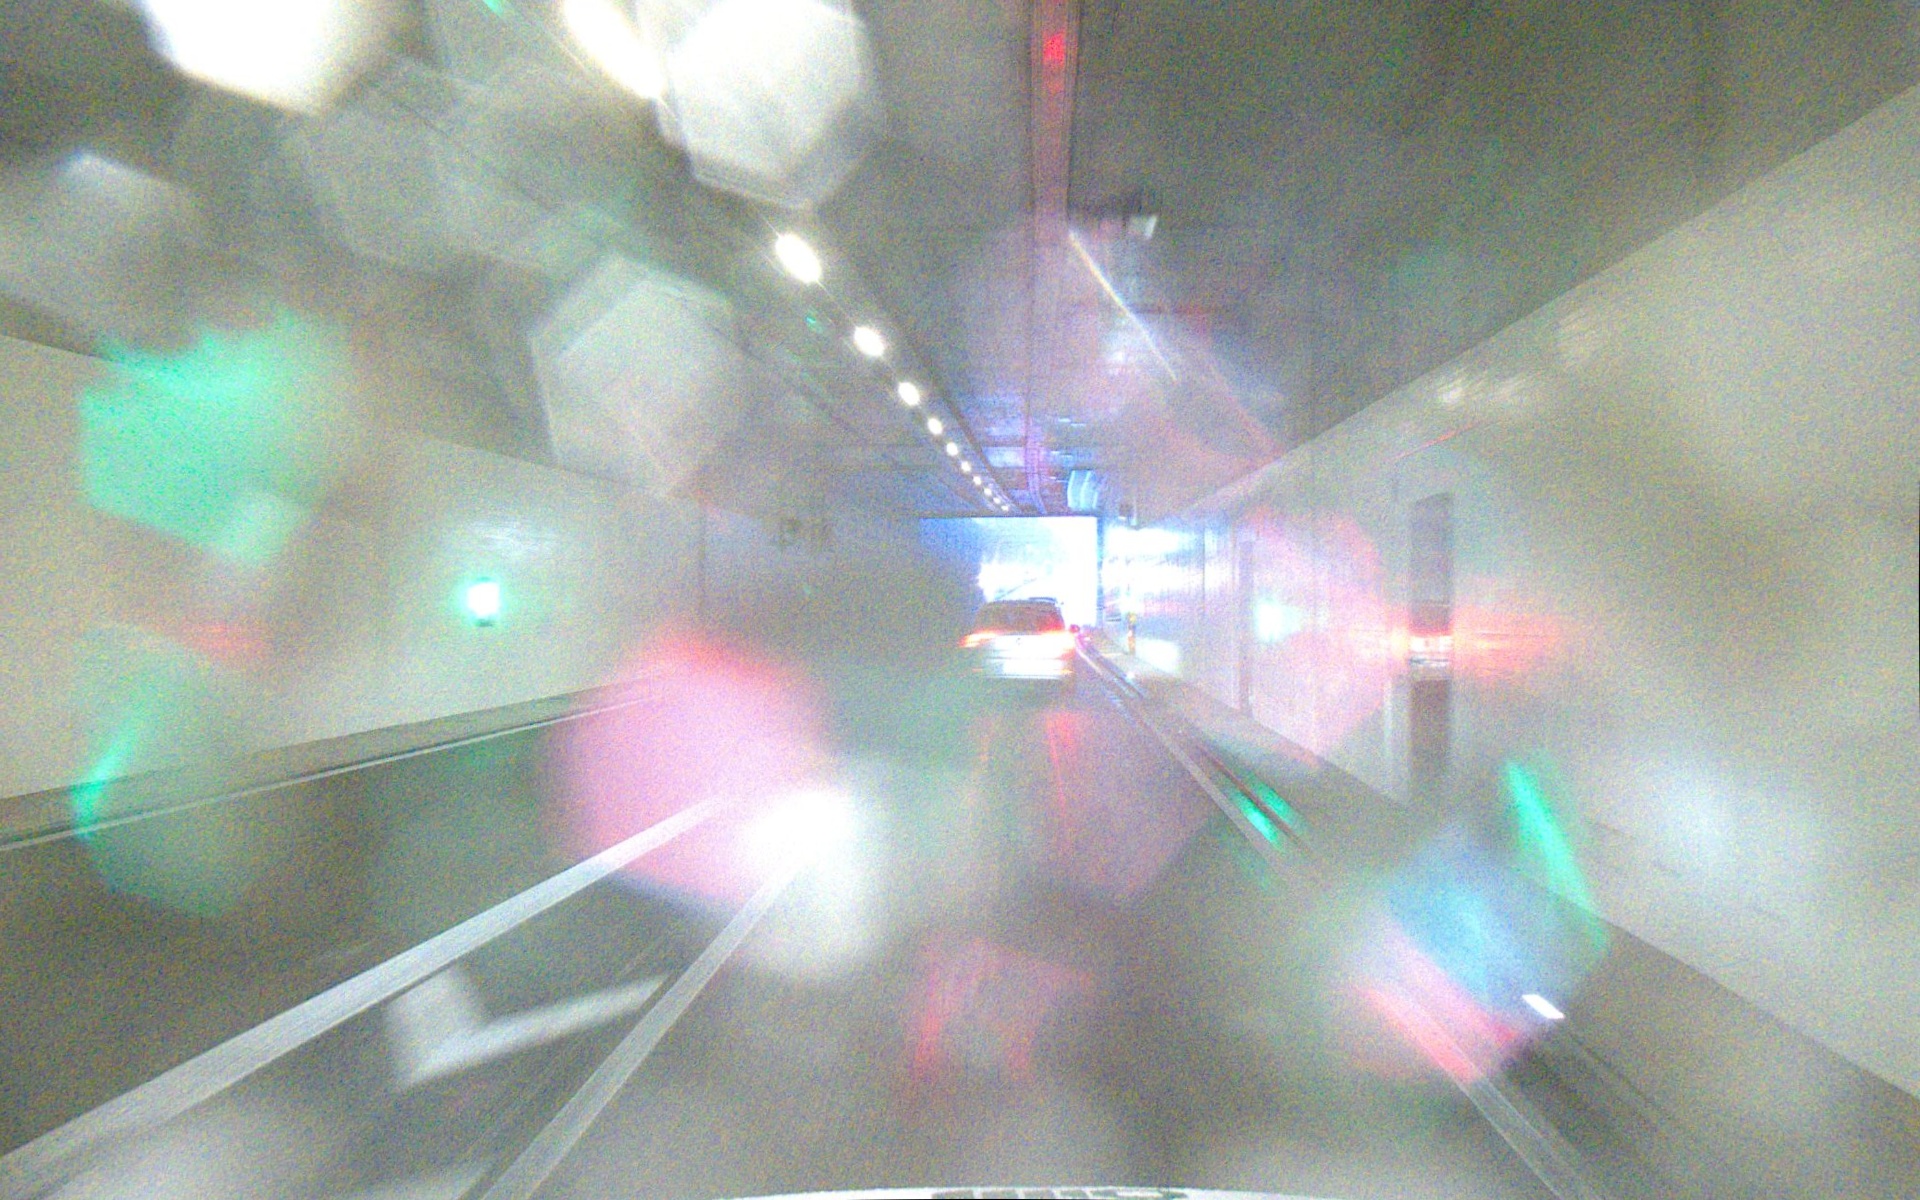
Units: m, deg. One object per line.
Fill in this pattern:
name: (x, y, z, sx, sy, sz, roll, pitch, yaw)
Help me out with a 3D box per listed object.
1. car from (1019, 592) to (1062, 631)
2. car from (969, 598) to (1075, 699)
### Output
car: (3.653, 0.562, 75.050, 1.841, 1.649, 4.001, 2, -1, 3)
car: (0.958, 0.706, 25.496, 1.500, 1.422, 3.434, 1, 0, 2)
